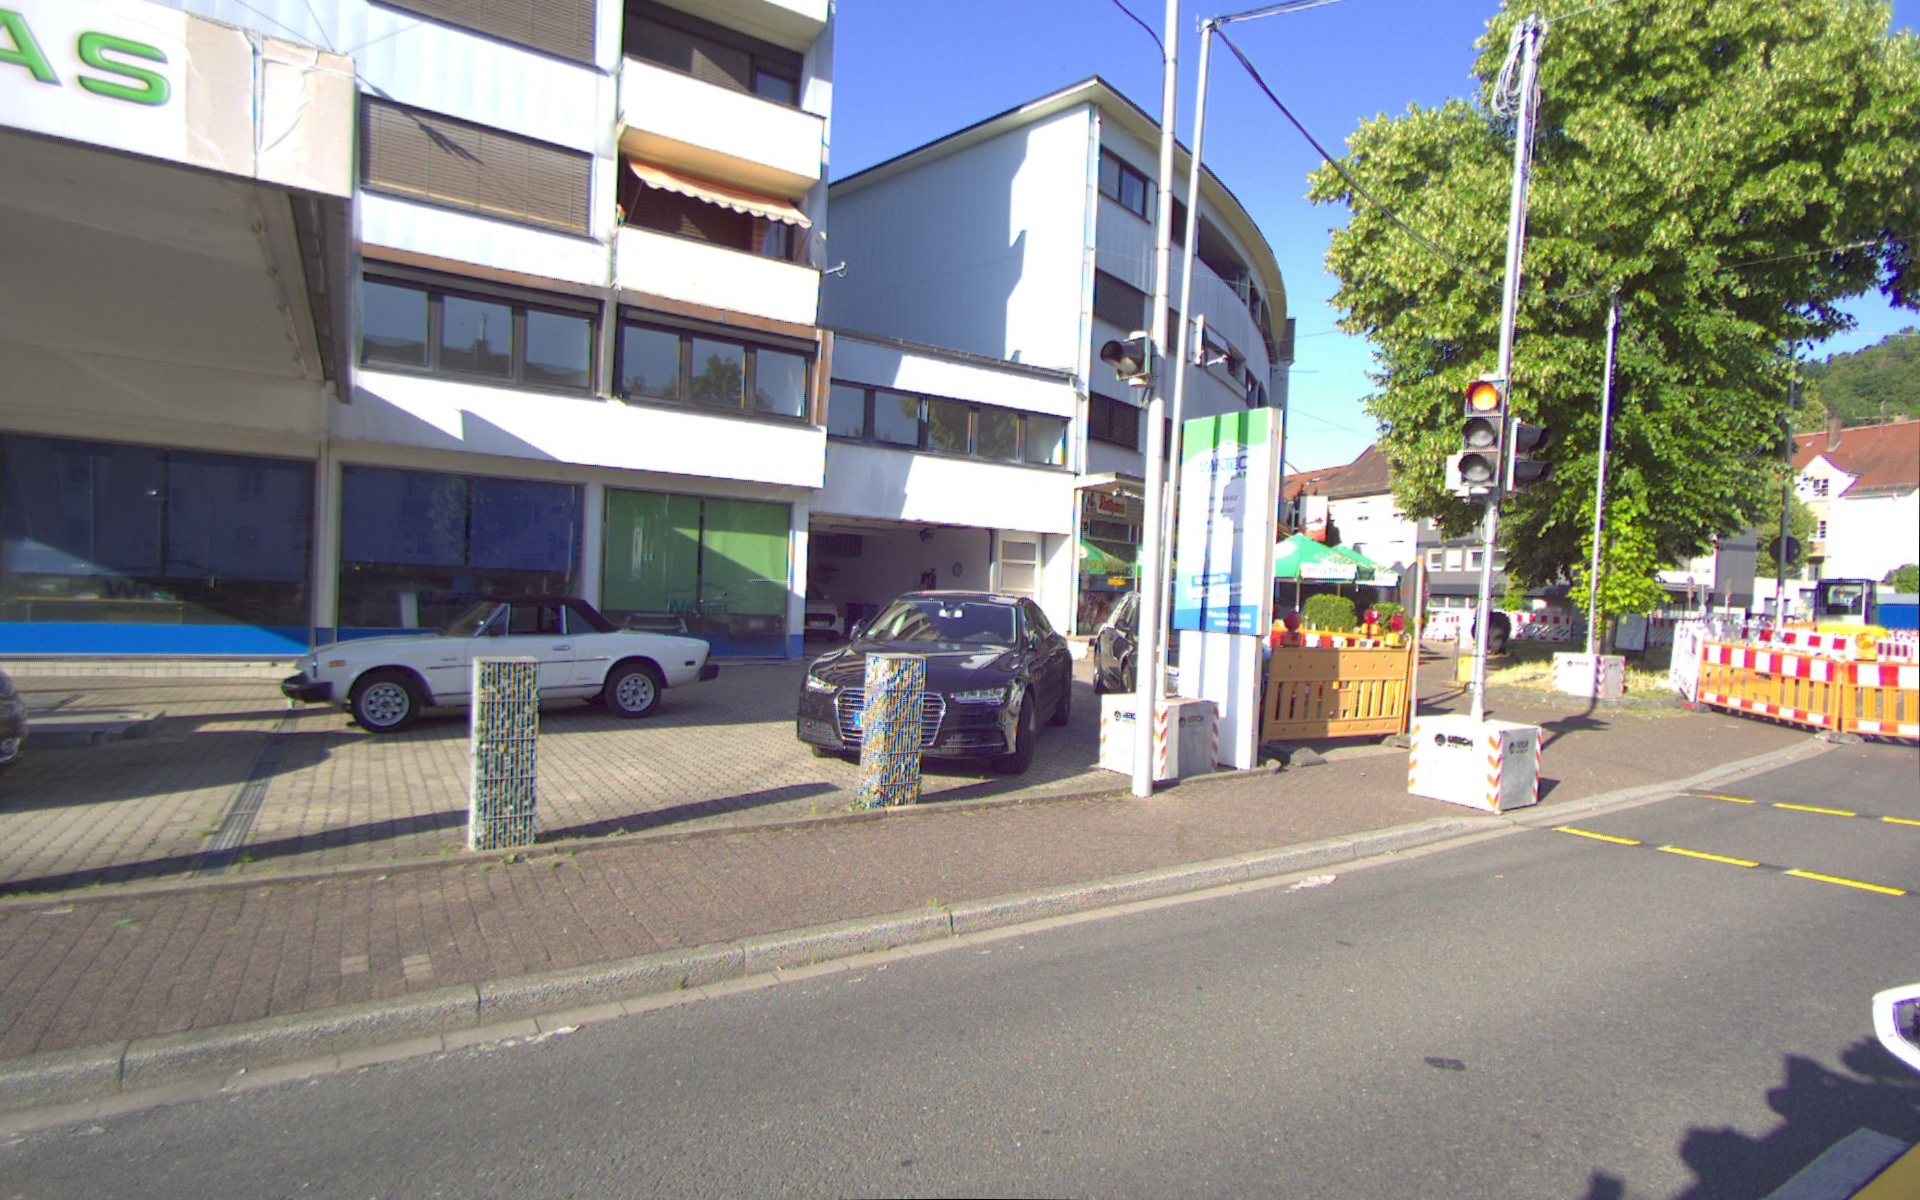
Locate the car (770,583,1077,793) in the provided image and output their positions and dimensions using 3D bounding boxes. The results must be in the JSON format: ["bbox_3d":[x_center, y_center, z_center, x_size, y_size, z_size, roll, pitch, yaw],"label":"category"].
[{"bbox_3d":[-0.024,0.649,9.569,1.893,1.457,4.692,1,-1,11],"label":"car"}]

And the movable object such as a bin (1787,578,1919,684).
[{"bbox_3d":[21.552,0.701,24.128,3.882,2.356,1.635,1,0,-36],"label":"movable object such as a bin"}]

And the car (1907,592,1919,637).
[{"bbox_3d":[49.515,0.788,48.432,6.043,2.149,2.586,2,0,-12],"label":"car"}]

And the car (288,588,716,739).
[{"bbox_3d":[-4.674,0.591,10.485,3.865,1.315,1.511,1,-1,-35],"label":"car"}]

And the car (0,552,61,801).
[{"bbox_3d":[-7.481,0.407,5.857,3.305,1.506,1.543,2,0,8],"label":"car"}]

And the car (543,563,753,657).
[{"bbox_3d":[-6.099,0.217,19.708,3.593,1.696,1.707,2,0,-34],"label":"car"}]

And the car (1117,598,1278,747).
[{"bbox_3d":[2.759,0.744,12.078,1.564,1.457,3.887,1,0,11],"label":"car"}]

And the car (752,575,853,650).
[{"bbox_3d":[-3.893,0.253,24.379,1.550,1.629,3.734,2,1,-23],"label":"car"}]
